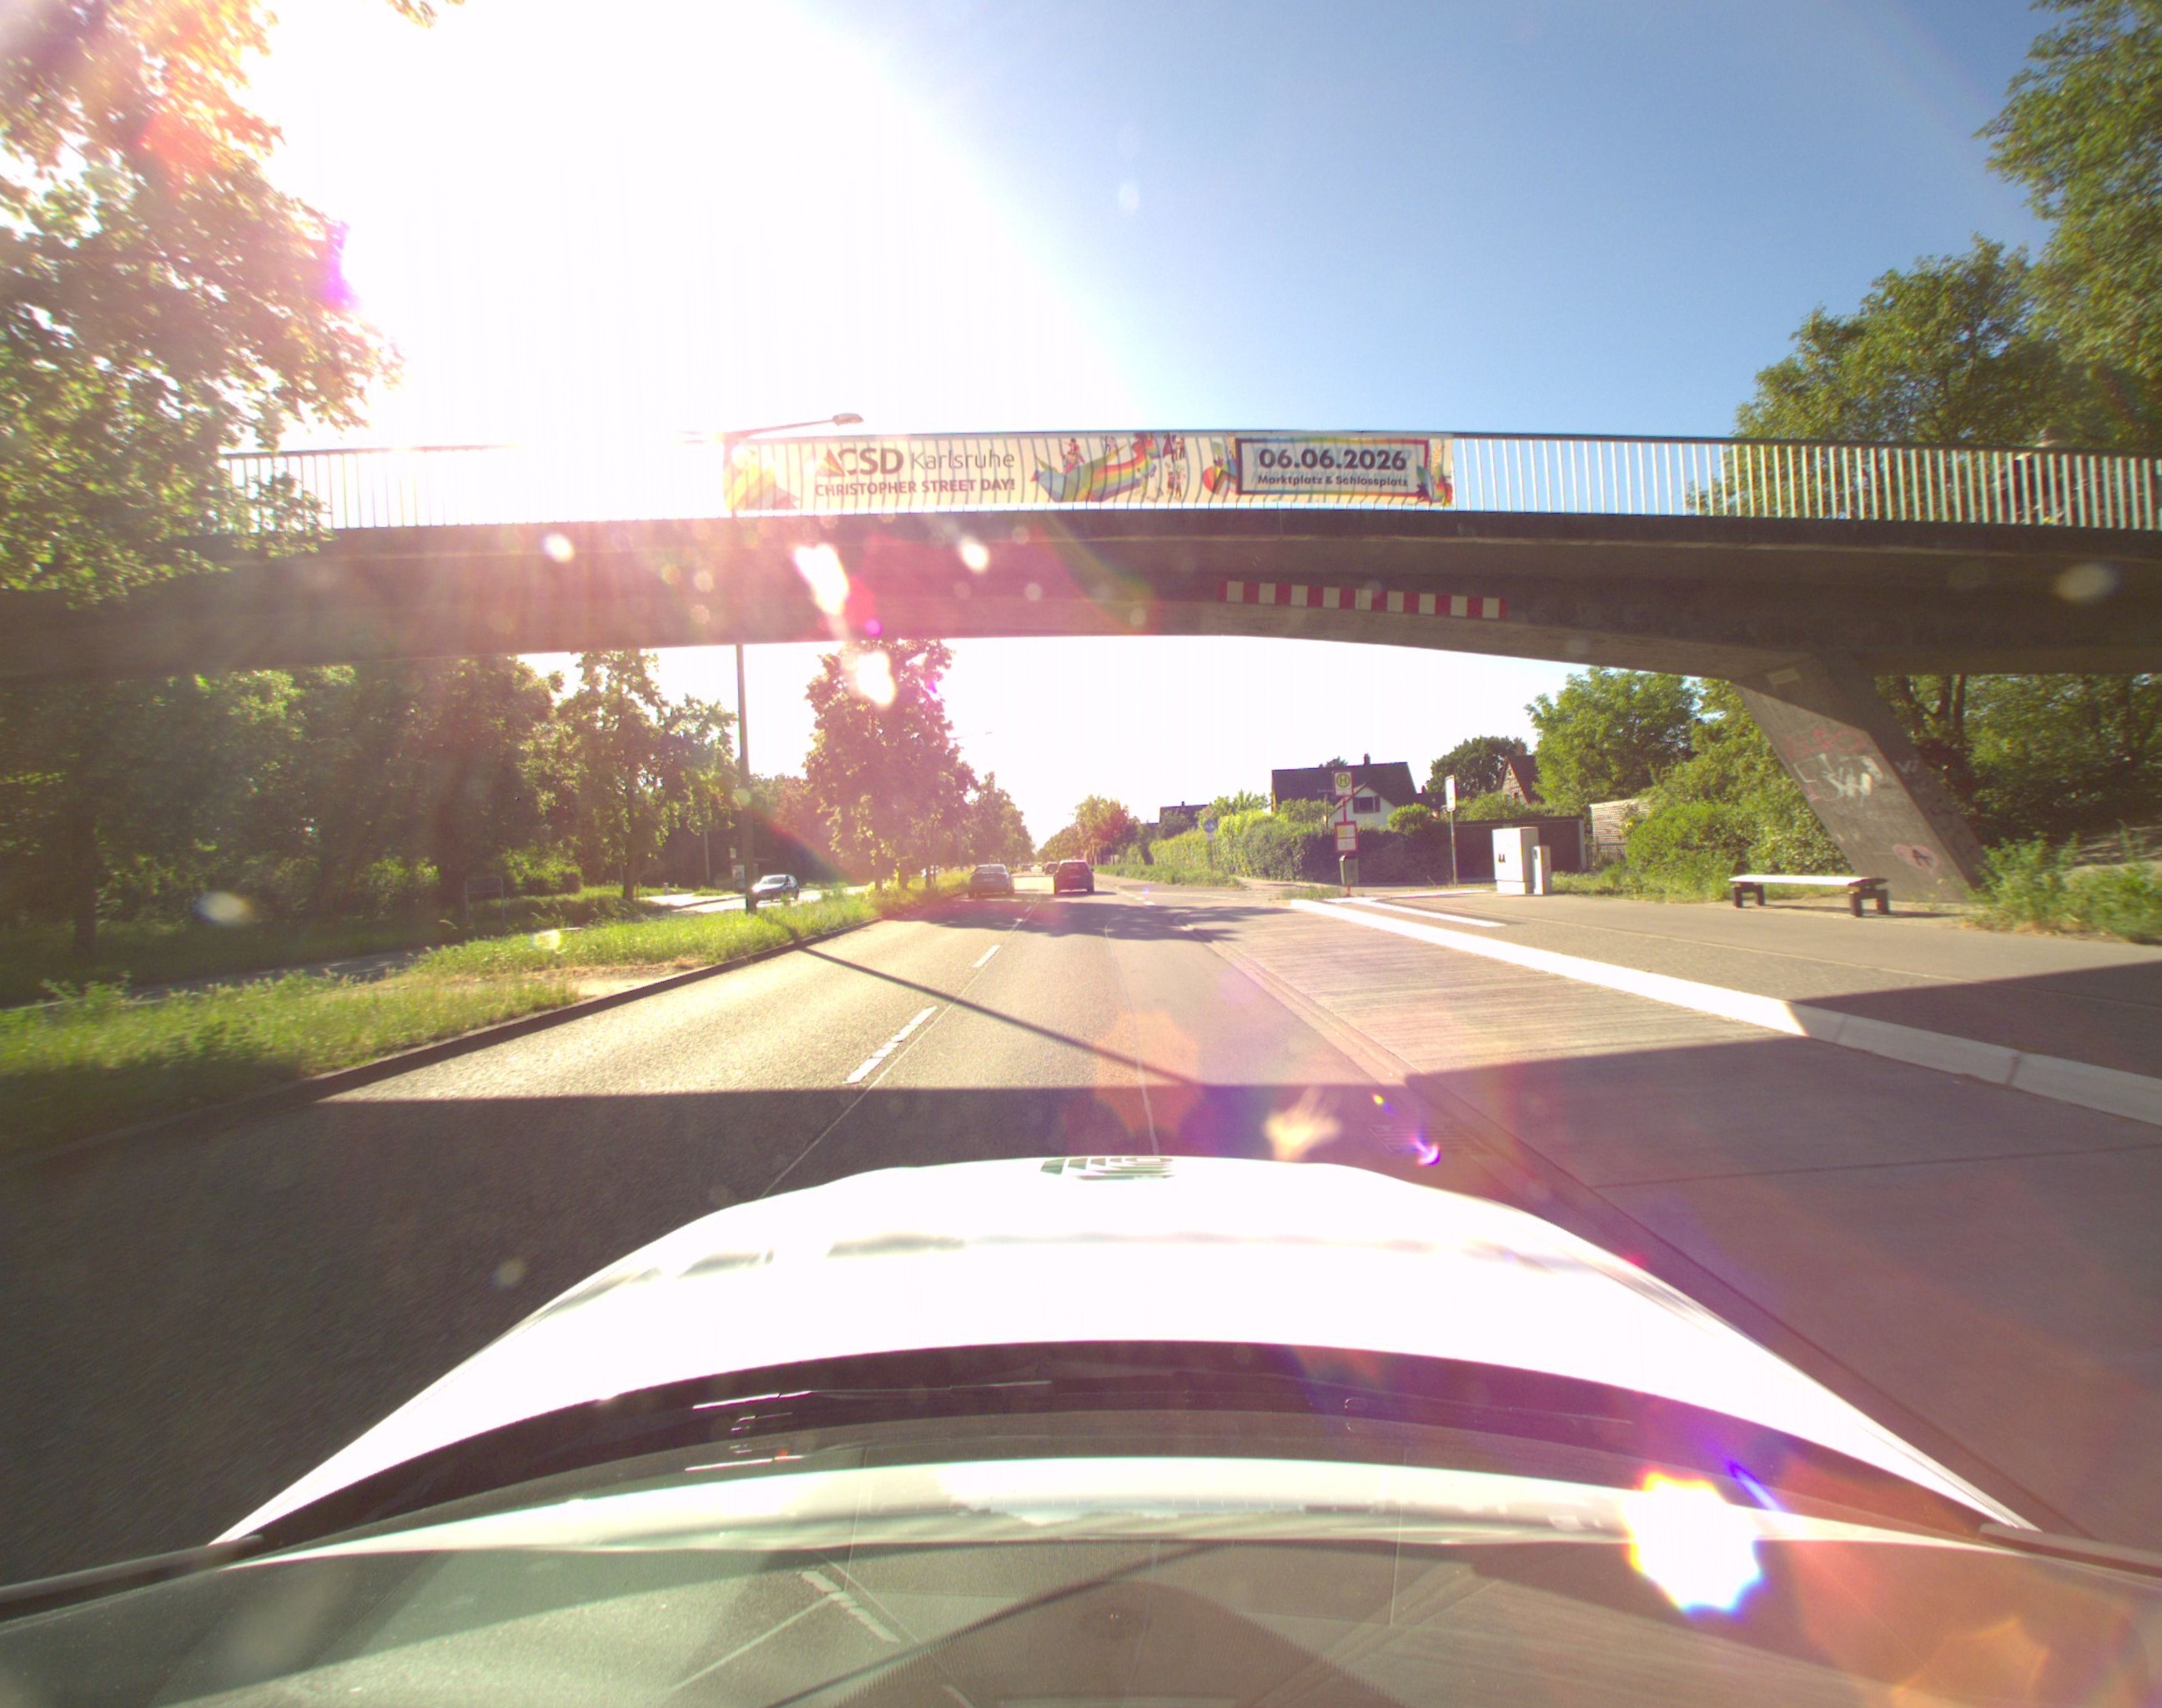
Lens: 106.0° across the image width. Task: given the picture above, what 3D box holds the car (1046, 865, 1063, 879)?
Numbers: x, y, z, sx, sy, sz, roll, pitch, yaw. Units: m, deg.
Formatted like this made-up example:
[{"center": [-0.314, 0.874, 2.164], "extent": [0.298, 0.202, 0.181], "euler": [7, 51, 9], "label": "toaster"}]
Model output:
[{"center": [-3.273, 2.205, 99.245], "extent": [1.741, 1.597, 4.167], "euler": [-2, 0, -5], "label": "car"}]

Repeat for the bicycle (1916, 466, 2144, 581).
[{"center": [11.649, -4.050, 10.037], "extent": [1.982, 1.107, 0.727], "euler": [-1, 0, -1], "label": "bicycle"}]

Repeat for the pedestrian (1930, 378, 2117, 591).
[{"center": [11.478, -4.459, 9.966], "extent": [1.063, 2.123, 0.996], "euler": [-3, 0, -1], "label": "pedestrian"}]

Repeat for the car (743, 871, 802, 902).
[{"center": [-16.801, 1.757, 44.614], "extent": [1.535, 1.431, 4.255], "euler": [-4, 0, 0], "label": "car"}]

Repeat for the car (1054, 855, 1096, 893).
[{"center": [-0.313, 0.886, 36.274], "extent": [1.756, 1.559, 3.996], "euler": [-1, -1, -2], "label": "car"}]

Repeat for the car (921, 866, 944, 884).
[{"center": [-14.960, 2.127, 82.158], "extent": [1.727, 1.632, 4.192], "euler": [-3, 0, -4], "label": "car"}]

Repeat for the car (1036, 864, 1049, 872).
[{"center": [-6.581, 2.379, 139.490], "extent": [1.897, 1.356, 3.990], "euler": [-2, 0, -7], "label": "car"}]

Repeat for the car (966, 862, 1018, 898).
[{"center": [-3.942, 1.126, 36.504], "extent": [1.990, 1.405, 3.996], "euler": [-3, 0, -3], "label": "car"}]

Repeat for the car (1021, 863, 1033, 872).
[{"center": [-10.278, 2.570, 153.732], "extent": [1.977, 1.440, 3.990], "euler": [-2, 0, -7], "label": "car"}]

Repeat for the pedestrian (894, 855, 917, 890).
[{"center": [-8.890, 0.937, 41.220], "extent": [0.624, 1.696, 0.949], "euler": [-2, -1, 27], "label": "pedestrian"}]
